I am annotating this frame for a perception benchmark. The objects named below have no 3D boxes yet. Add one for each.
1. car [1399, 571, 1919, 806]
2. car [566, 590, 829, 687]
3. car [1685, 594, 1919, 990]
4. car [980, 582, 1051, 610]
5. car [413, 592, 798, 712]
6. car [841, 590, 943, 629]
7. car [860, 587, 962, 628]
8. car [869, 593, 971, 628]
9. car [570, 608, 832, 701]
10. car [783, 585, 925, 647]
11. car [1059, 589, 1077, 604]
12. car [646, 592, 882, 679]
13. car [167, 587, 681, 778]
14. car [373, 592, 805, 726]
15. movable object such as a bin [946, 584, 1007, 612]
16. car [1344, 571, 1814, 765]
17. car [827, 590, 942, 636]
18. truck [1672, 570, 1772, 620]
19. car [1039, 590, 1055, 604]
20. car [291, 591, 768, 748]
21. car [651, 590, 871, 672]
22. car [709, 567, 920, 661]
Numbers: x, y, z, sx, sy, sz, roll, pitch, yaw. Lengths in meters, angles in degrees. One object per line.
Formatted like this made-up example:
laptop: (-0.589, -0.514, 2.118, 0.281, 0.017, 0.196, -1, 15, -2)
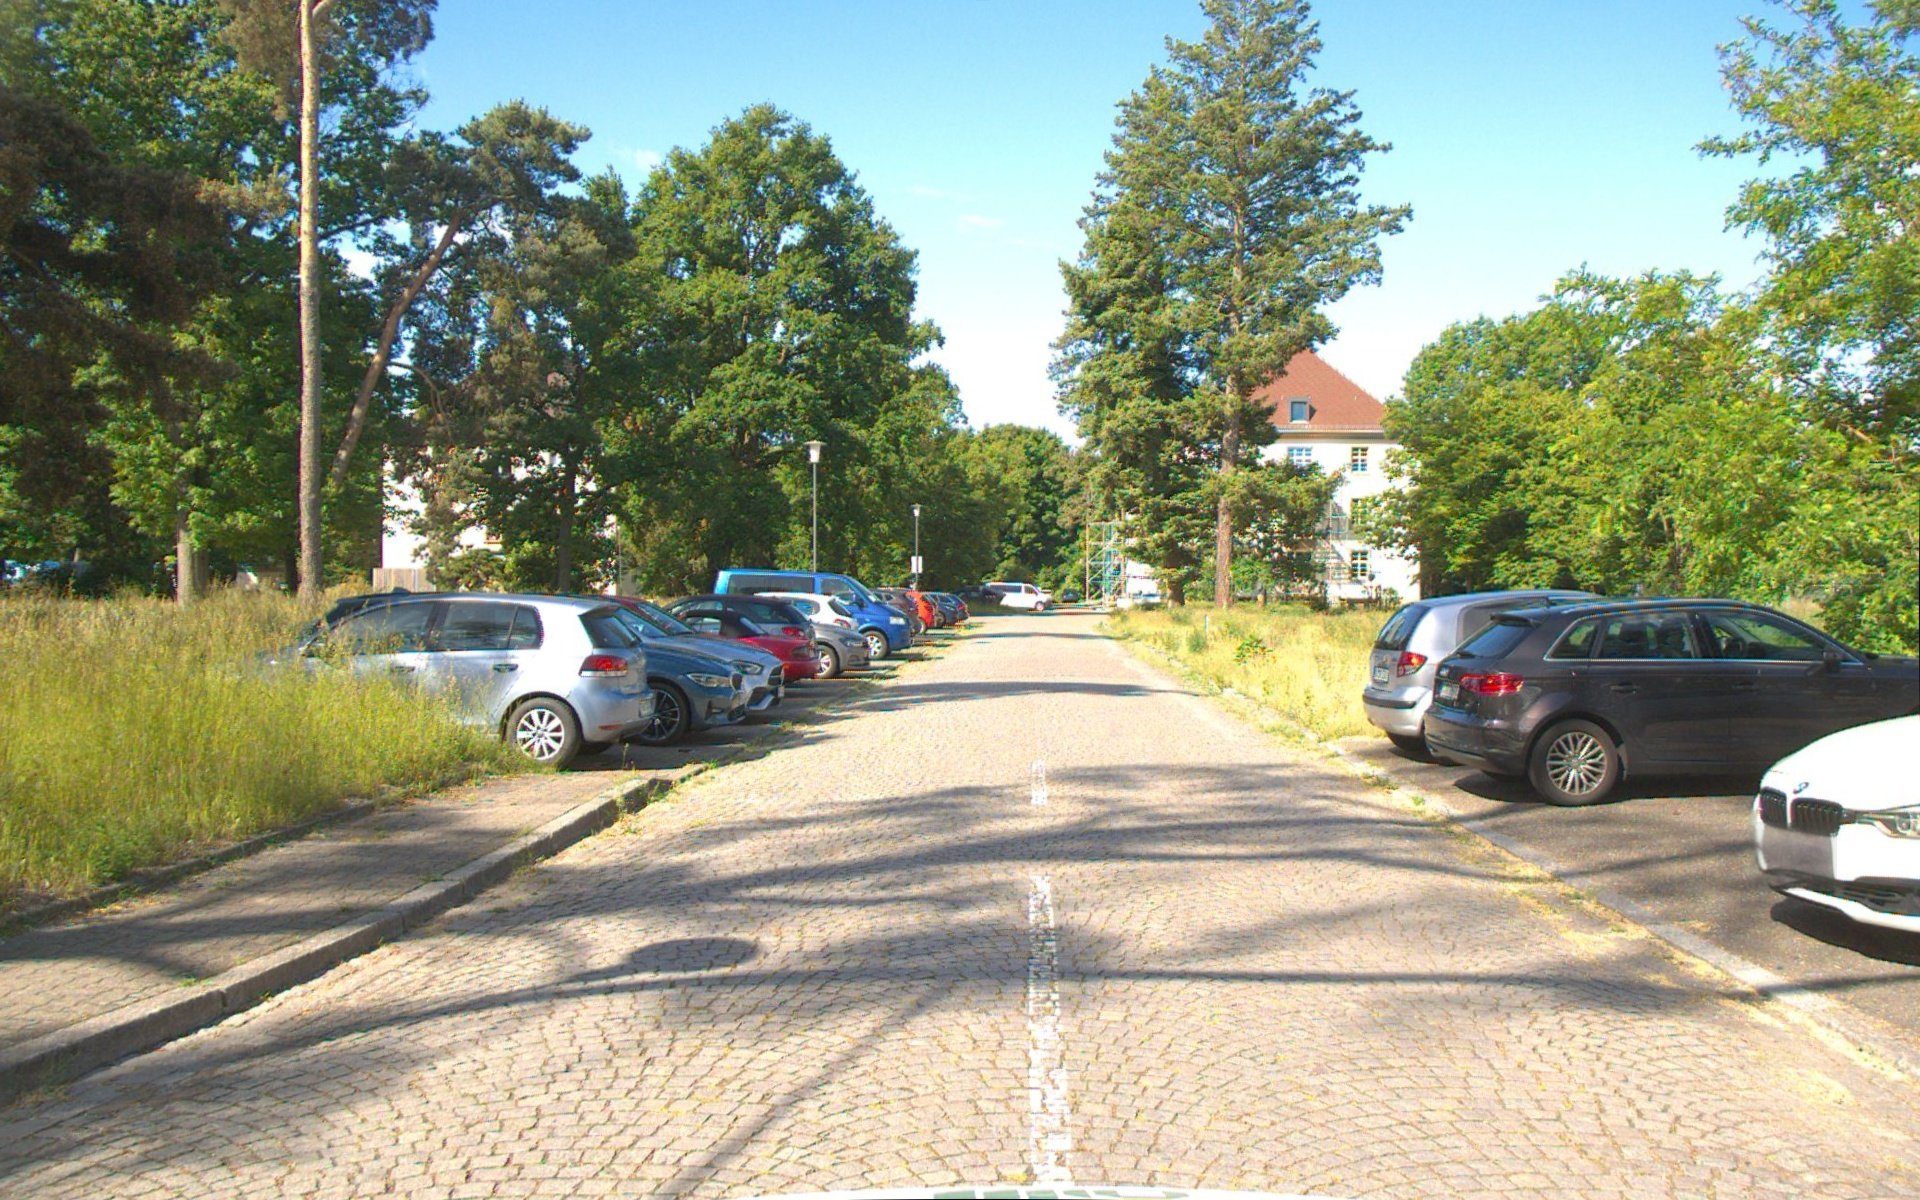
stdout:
car: (5.571, 0.613, 12.597, 3.922, 1.466, 1.844, -3, 1, 1)
car: (-4.308, 0.623, 27.533, 3.991, 1.477, 1.822, 1, -1, 4)
car: (5.851, 0.671, 7.347, 4.421, 1.490, 1.839, -2, 0, 0)
car: (4.097, -0.288, 121.464, 5.125, 2.051, 1.951, 0, 0, 2)
car: (-4.735, 0.673, 22.563, 4.763, 1.445, 1.939, 1, 0, 3)
car: (-2.683, 0.373, 65.725, 3.841, 1.458, 1.843, 1, 1, 4)
car: (-2.004, 0.288, 68.095, 4.049, 1.607, 1.885, 1, 1, 2)
car: (-1.745, 0.442, 72.774, 4.267, 1.470, 1.922, 1, 1, 5)
car: (-3.833, 0.794, 24.839, 3.554, 1.256, 1.760, 1, -1, 4)
car: (-3.003, 0.441, 47.502, 3.872, 1.595, 1.974, 2, 1, 1)
car: (12.199, -0.428, 187.512, 1.930, 1.697, 4.087, -1, 0, 2)
car: (-3.550, 0.627, 30.390, 3.991, 1.450, 1.924, 1, 0, 4)
car: (-4.674, 0.685, 14.867, 3.943, 1.509, 1.949, 1, 1, 1)
car: (-4.415, 0.690, 20.204, 4.763, 1.446, 1.939, 1, -1, 3)
movable object such as a bin: (1.107, -0.108, 108.480, 3.492, 1.775, 2.025, 0, 0, 21)
car: (5.614, 0.591, 15.343, 3.663, 1.502, 1.752, -3, 0, 1)
car: (-2.611, 0.431, 57.828, 3.842, 1.486, 1.842, 1, 1, 1)
truck: (39.956, -0.263, 86.927, 2.187, 2.466, 6.888, 1, 0, 2)
car: (9.833, -0.360, 187.314, 1.774, 1.607, 4.136, -1, 0, 2)
car: (-4.401, 0.694, 17.480, 4.488, 1.477, 1.984, 1, 0, -1)
car: (-3.949, 0.598, 33.293, 4.109, 1.501, 1.824, 1, 0, 2)
car: (-3.328, 0.318, 38.549, 4.619, 2.002, 2.006, 2, 0, 2)
